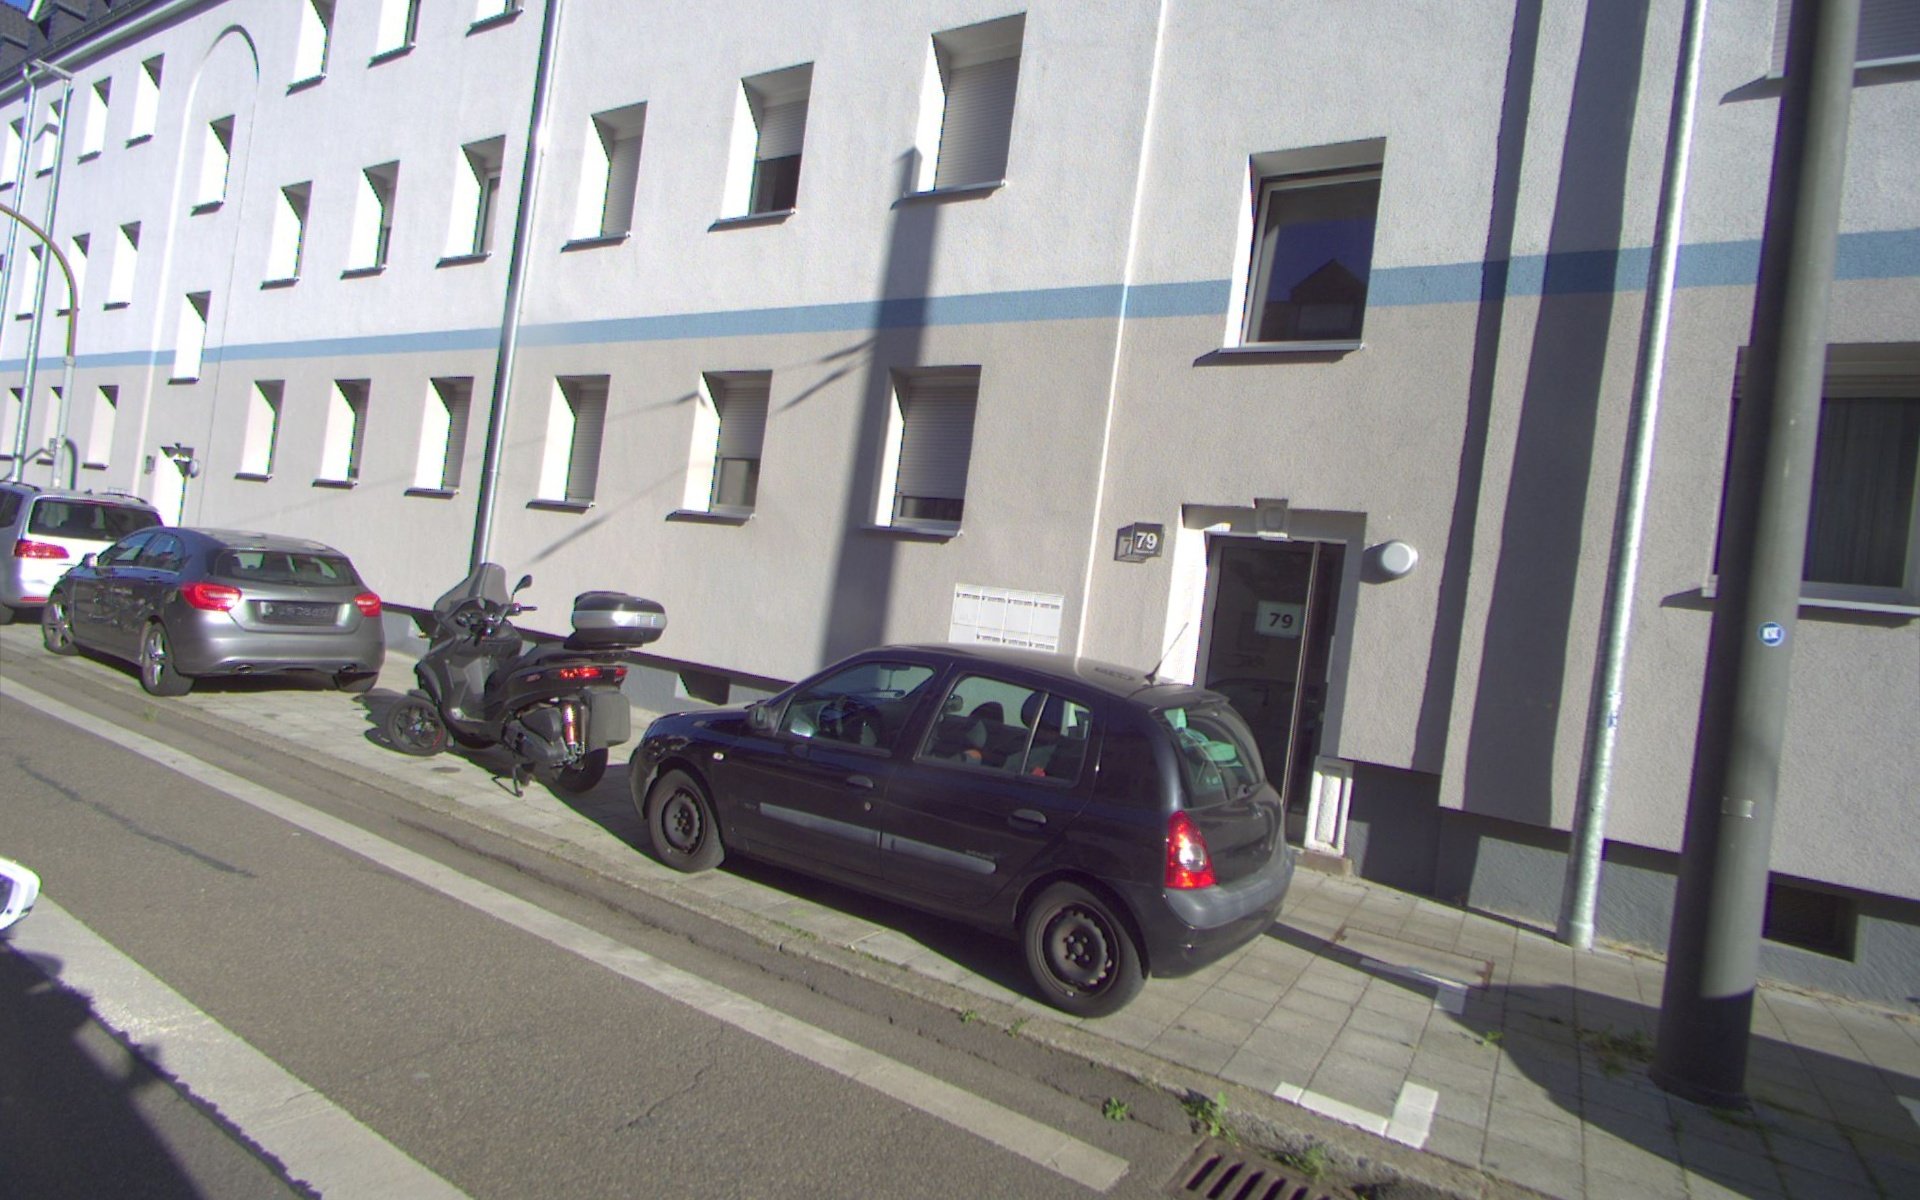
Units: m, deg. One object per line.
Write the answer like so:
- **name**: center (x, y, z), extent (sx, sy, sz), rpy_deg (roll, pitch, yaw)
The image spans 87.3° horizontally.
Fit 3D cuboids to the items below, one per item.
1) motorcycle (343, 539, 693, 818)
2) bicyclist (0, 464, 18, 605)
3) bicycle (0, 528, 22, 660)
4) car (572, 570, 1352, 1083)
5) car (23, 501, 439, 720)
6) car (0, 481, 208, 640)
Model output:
- **motorcycle**: center (-3.234, 0.466, 7.211), extent (2.663, 1.541, 0.806), rpy_deg (7, 2, 31)
- **bicyclist**: center (-10.200, -0.583, 9.938), extent (0.953, 1.696, 0.936), rpy_deg (7, -1, 31)
- **bicycle**: center (-10.429, -0.215, 10.034), extent (2.421, 1.250, 0.823), rpy_deg (7, -2, 31)
- **car**: center (-0.142, 0.863, 5.444), extent (3.840, 1.590, 1.610), rpy_deg (7, 1, 33)
- **car**: center (-7.333, 0.033, 10.003), extent (4.295, 1.574, 1.865), rpy_deg (7, 0, 33)
- **car**: center (-11.944, -0.627, 13.016), extent (4.547, 1.686, 1.757), rpy_deg (7, 0, 29)
